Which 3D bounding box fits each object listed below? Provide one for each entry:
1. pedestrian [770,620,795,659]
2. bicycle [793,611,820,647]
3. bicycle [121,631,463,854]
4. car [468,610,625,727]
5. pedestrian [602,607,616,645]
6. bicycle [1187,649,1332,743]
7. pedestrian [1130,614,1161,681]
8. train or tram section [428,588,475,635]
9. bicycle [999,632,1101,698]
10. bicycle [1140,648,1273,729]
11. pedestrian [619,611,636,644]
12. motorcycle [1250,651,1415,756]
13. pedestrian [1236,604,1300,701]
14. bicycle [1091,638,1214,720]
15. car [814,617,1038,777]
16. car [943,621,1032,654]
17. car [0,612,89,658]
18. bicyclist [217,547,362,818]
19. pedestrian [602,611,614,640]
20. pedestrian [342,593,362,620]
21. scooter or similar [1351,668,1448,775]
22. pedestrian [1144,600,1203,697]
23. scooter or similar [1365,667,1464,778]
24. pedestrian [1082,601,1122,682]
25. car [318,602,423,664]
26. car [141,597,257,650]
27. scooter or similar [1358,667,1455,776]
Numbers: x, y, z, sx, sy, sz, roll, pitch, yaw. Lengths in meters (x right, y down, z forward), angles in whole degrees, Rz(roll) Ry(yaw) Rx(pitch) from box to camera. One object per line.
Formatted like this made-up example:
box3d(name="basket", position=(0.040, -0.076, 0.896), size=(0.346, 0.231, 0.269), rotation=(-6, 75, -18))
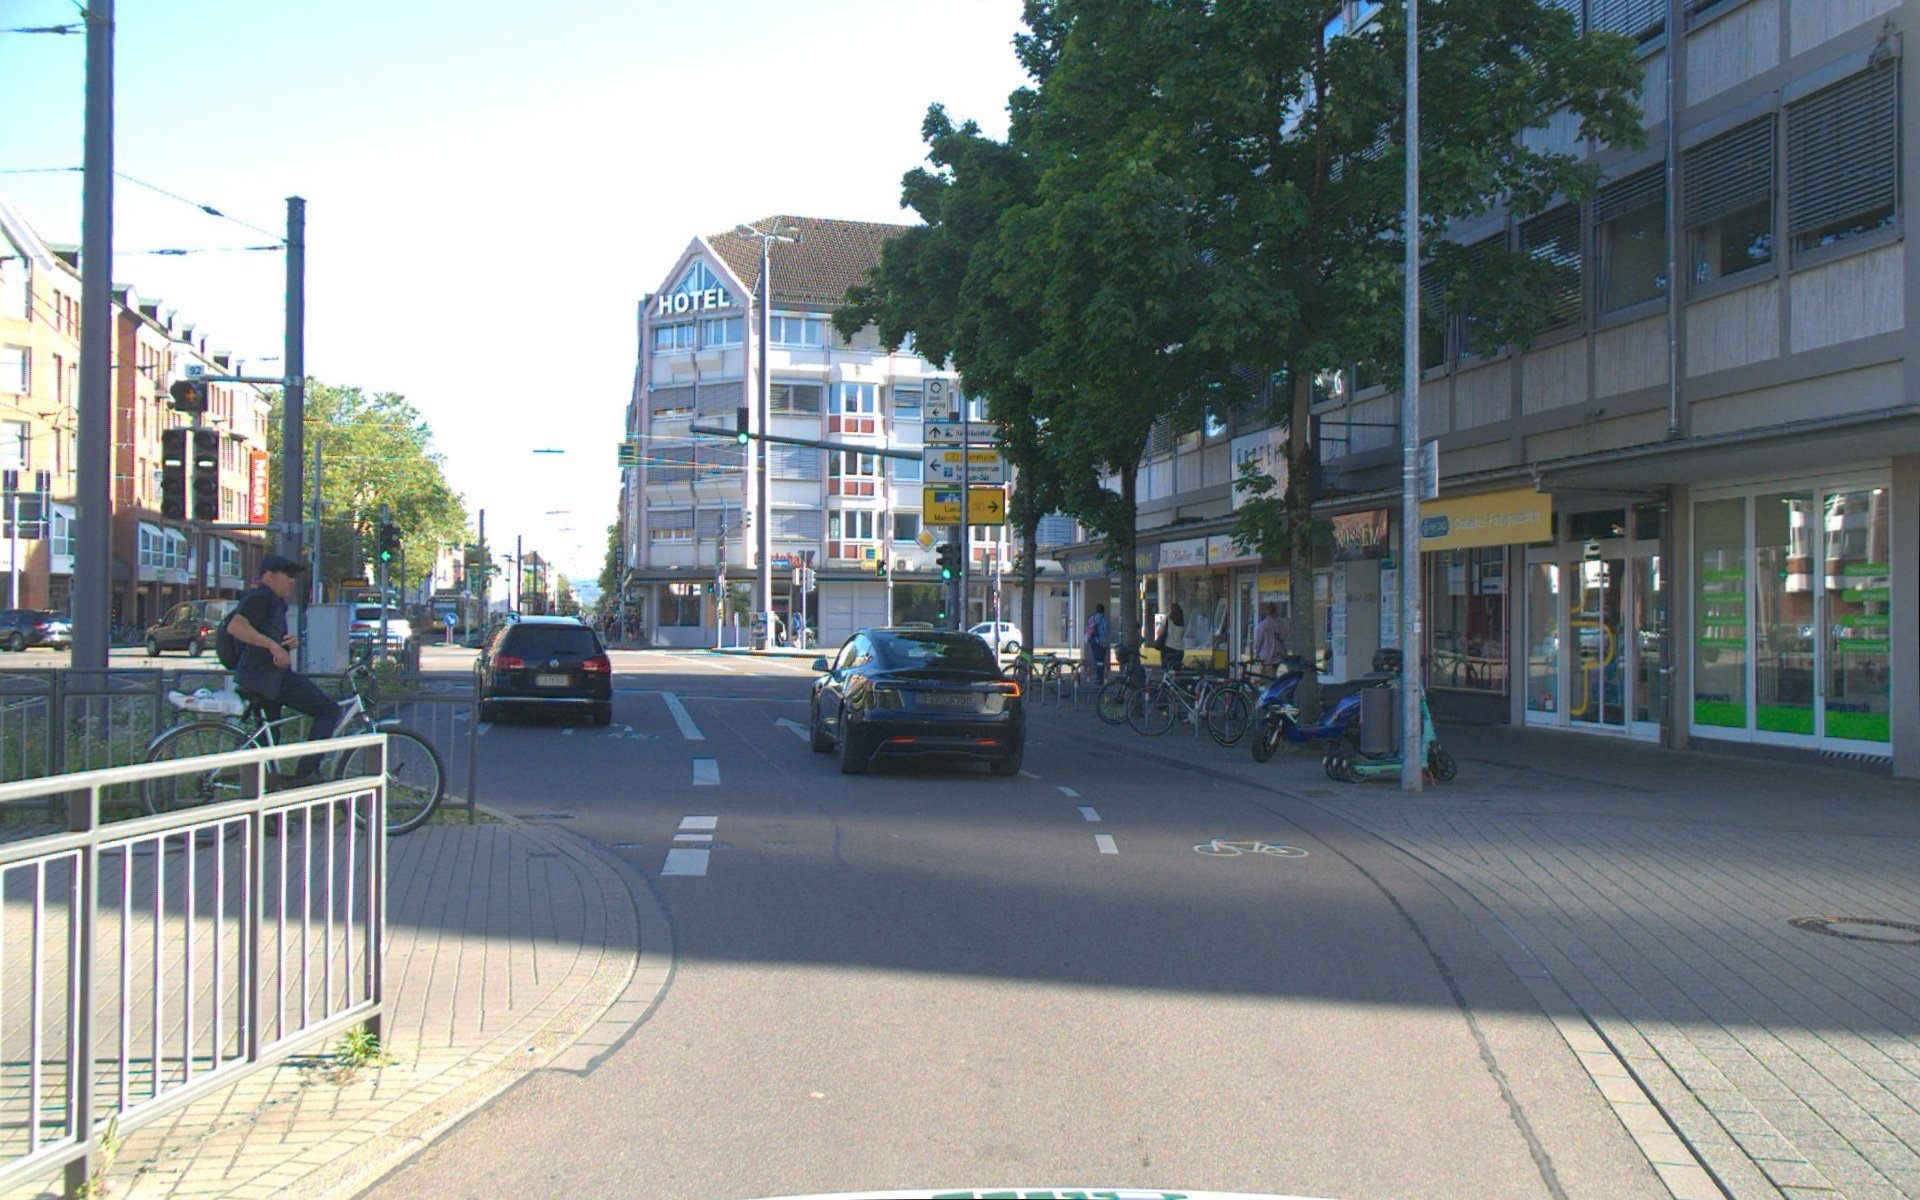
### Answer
box3d(name="pedestrian", position=(-7.370, 1.645, 68.721), size=(0.769, 1.604, 0.861), rotation=(1, 0, -25))
box3d(name="bicycle", position=(-6.448, 1.192, 69.480), size=(0.575, 1.489, 1.672), rotation=(0, -1, -25))
box3d(name="bicycle", position=(-3.990, 0.810, 9.944), size=(1.804, 1.233, 0.634), rotation=(1, -1, -35))
box3d(name="car", position=(-5.972, 0.896, 23.536), size=(1.738, 1.469, 4.502), rotation=(1, 0, -20))
box3d(name="pedestrian", position=(-17.192, 1.273, 81.008), size=(0.616, 1.814, 0.914), rotation=(1, -1, -15))
box3d(name="bicycle", position=(3.728, 1.179, 20.558), size=(1.824, 1.074, 0.397), rotation=(-1, -1, -22))
box3d(name="pedestrian", position=(4.068, 1.028, 36.218), size=(0.631, 1.447, 0.621), rotation=(0, -1, 9))
box3d(name="train or tram section", position=(-40.843, 0.972, 133.138), size=(2.681, 3.605, 10.055), rotation=(1, -1, -12))
box3d(name="bicycle", position=(1.706, 1.235, 31.533), size=(1.855, 1.177, 0.479), rotation=(-1, -1, -10))
box3d(name="bicycle", position=(3.347, 1.196, 22.515), size=(1.732, 1.075, 0.457), rotation=(1, -1, -5))
box3d(name="pedestrian", position=(-18.046, 1.480, 89.800), size=(0.898, 1.785, 0.837), rotation=(1, -1, -11))
box3d(name="motorcycle", position=(4.170, 1.153, 18.538), size=(1.755, 1.149, 0.503), rotation=(1, -1, -11))
box3d(name="pedestrian", position=(5.257, 0.886, 28.284), size=(0.828, 1.630, 0.878), rotation=(1, -1, -10))
box3d(name="bicycle", position=(2.850, 1.156, 24.489), size=(1.779, 1.172, 0.434), rotation=(0, -1, -15))
box3d(name="car", position=(-0.478, 0.933, 17.517), size=(1.758, 1.476, 3.929), rotation=(1, 0, -11))
box3d(name="car", position=(1.264, 1.728, 76.059), size=(3.777, 1.457, 1.796), rotation=(0, -3, -16))
box3d(name="car", position=(-32.469, 1.205, 57.678), size=(3.388, 1.578, 1.732), rotation=(0, -1, 13))
box3d(name="bicyclist", position=(-4.027, 0.479, 9.929), size=(0.675, 1.550, 0.627), rotation=(1, -2, -34))
box3d(name="pedestrian", position=(-19.684, 1.414, 92.497), size=(0.468, 1.590, 0.537), rotation=(2, -2, -40))
box3d(name="pedestrian", position=(-37.284, 0.415, 101.427), size=(1.089, 1.653, 0.842), rotation=(1, -1, -21))
box3d(name="scooter or similar", position=(4.401, 1.214, 16.571), size=(0.945, 1.045, 0.159), rotation=(0, -1, -8))
box3d(name="pedestrian", position=(3.893, 0.888, 30.209), size=(0.828, 1.737, 0.878), rotation=(1, -1, -10))
box3d(name="scooter or similar", position=(4.448, 1.190, 16.187), size=(0.945, 1.061, 0.159), rotation=(0, -1, -8))
box3d(name="pedestrian", position=(3.122, 0.913, 36.480), size=(0.825, 1.751, 0.880), rotation=(0, -1, 2))
box3d(name="car", position=(-16.530, 0.910, 46.308), size=(1.825, 1.664, 3.440), rotation=(1, -1, -37))
box3d(name="car", position=(-24.159, 0.741, 52.487), size=(3.702, 1.646, 1.574), rotation=(0, -1, 32))
box3d(name="scooter or similar", position=(4.423, 1.201, 16.384), size=(0.938, 1.057, 0.159), rotation=(0, -1, -8))
